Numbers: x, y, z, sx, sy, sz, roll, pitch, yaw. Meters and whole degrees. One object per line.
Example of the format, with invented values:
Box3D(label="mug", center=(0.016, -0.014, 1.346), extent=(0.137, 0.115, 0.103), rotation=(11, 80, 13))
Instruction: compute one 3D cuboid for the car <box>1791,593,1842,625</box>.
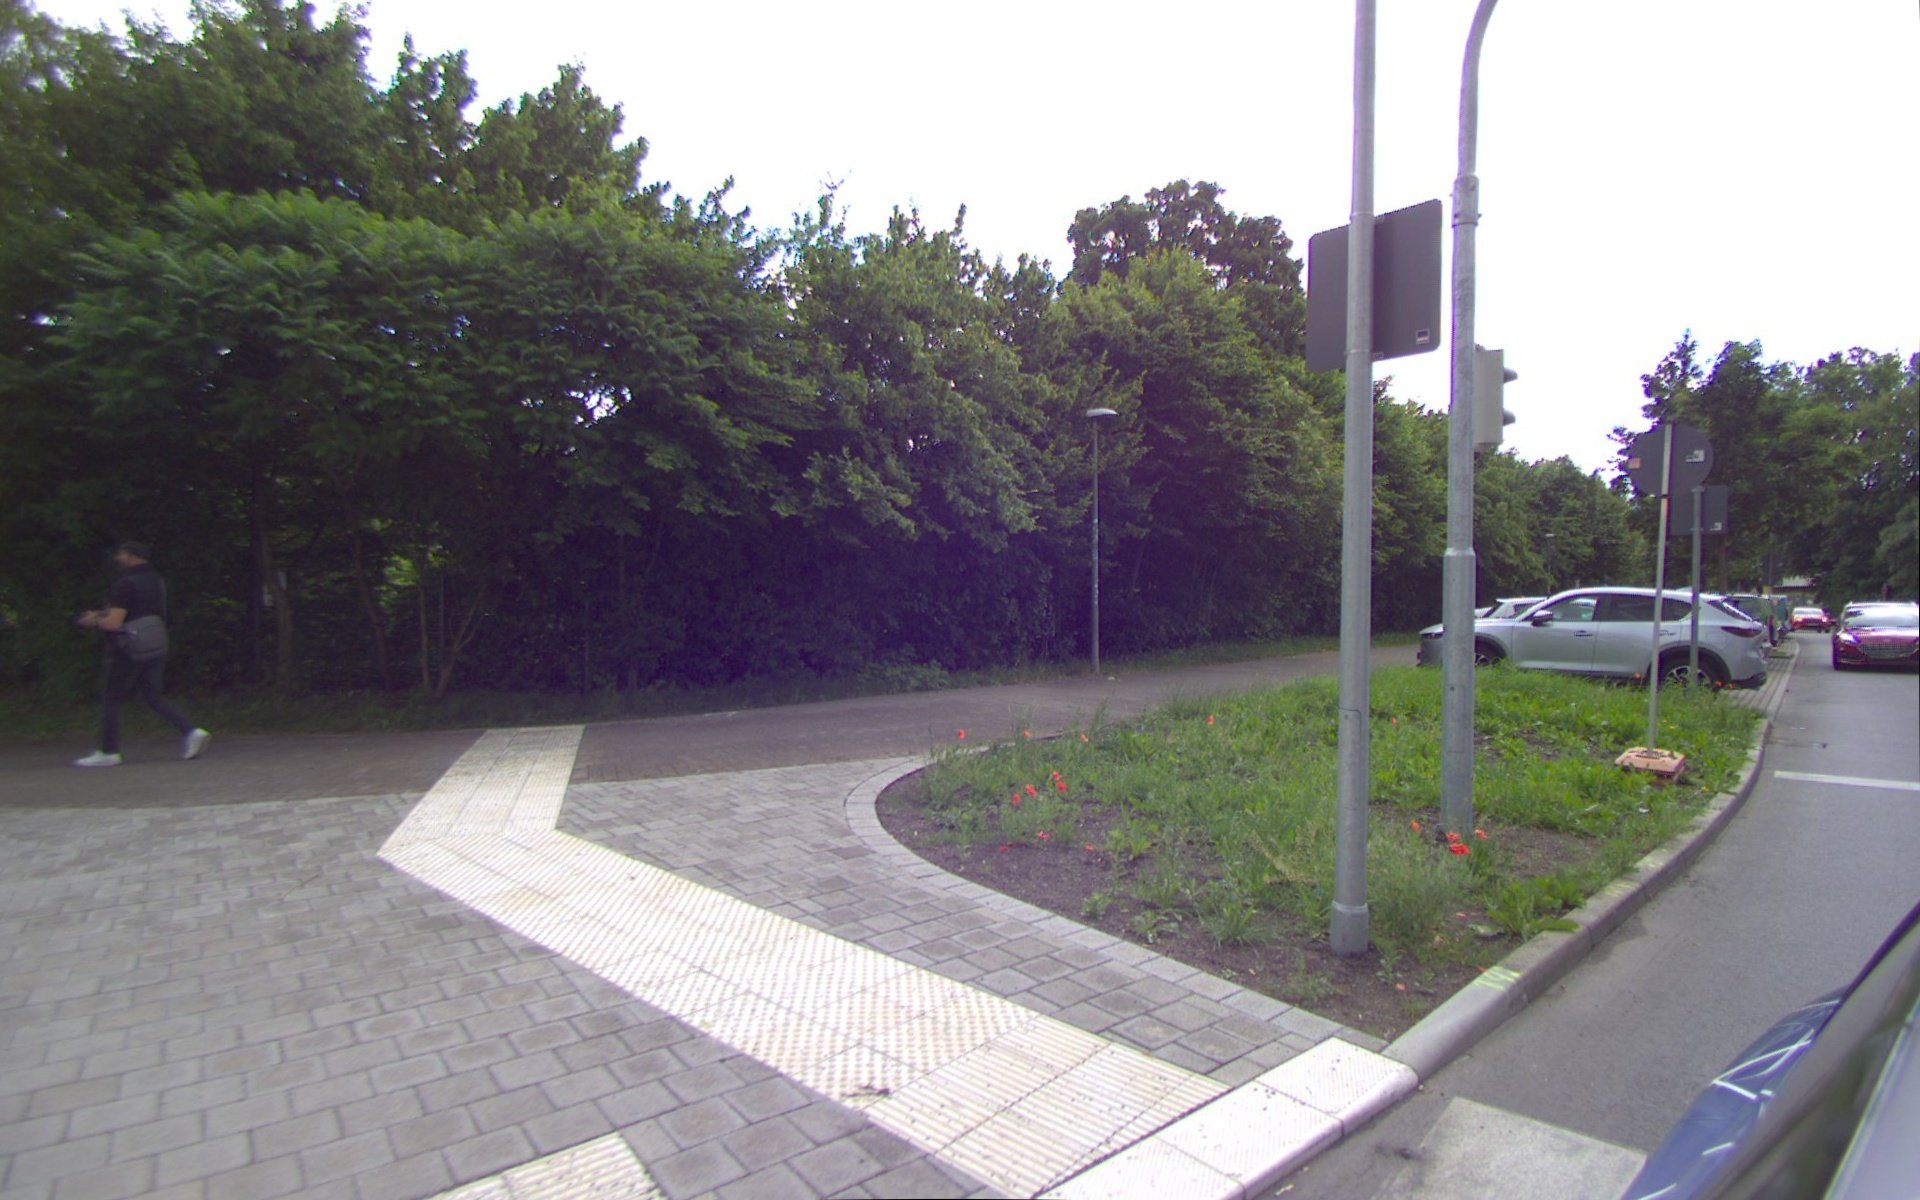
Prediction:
Box3D(label="car", center=(47.879, 0.488, 56.640), extent=(1.808, 1.638, 3.948), rotation=(3, 2, 36))

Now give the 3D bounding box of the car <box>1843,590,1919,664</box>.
Box3D(label="car", center=(22.756, 0.603, 24.552), extent=(1.926, 1.652, 4.180), rotation=(-1, 0, 41))

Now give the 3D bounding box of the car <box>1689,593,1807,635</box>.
Box3D(label="car", center=(34.252, 0.564, 44.054), extent=(3.963, 1.622, 2.077), rotation=(1, 3, 40))

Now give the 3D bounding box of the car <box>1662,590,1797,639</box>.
Box3D(label="car", center=(29.155, 0.564, 38.414), extent=(3.962, 1.754, 1.857), rotation=(-1, -1, 40))

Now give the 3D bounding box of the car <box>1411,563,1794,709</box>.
Box3D(label="car", center=(9.643, 0.425, 15.476), extent=(4.639, 1.774, 2.042), rotation=(4, 2, 38))

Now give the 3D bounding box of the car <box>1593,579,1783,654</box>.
Box3D(label="car", center=(20.731, 0.409, 28.911), extent=(4.275, 1.916, 1.811), rotation=(2, 1, 40))

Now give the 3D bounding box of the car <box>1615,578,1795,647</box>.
Box3D(label="car", center=(24.183, 0.337, 32.959), extent=(4.545, 1.922, 1.857), rotation=(4, 2, 40))

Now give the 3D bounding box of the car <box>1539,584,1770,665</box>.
Box3D(label="car", center=(15.847, 0.488, 23.228), extent=(4.148, 1.611, 1.650), rotation=(3, 1, 44))

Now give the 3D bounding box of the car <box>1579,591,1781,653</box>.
Box3D(label="car", center=(19.214, 0.535, 27.104), extent=(4.275, 1.427, 1.811), rotation=(2, 1, 40))

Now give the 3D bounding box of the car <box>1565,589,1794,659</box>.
Box3D(label="car", center=(17.580, 0.519, 24.842), extent=(4.393, 1.453, 1.915), rotation=(2, 1, 41))

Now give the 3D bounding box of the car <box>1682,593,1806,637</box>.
Box3D(label="car", center=(32.590, 0.624, 42.158), extent=(3.962, 1.754, 1.857), rotation=(-1, -1, 40))

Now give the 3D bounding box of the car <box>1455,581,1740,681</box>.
Box3D(label="car", center=(12.318, 0.502, 19.704), extent=(4.472, 1.581, 1.884), rotation=(3, 2, 40))

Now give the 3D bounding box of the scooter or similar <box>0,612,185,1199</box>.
Box3D(label="scooter or similar", center=(-2.854, 0.700, 2.550), extent=(1.501, 1.329, 0.571), rotation=(0, 0, 10))

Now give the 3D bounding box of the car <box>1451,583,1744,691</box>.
Box3D(label="car", center=(11.056, 0.550, 17.694), extent=(4.149, 1.606, 1.770), rotation=(2, 1, 40))

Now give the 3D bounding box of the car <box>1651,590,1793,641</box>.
Box3D(label="car", center=(27.382, 0.572, 36.444), extent=(3.962, 1.754, 1.857), rotation=(-1, -1, 40))

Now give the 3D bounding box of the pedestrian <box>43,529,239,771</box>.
Box3D(label="pedestrian", center=(-6.659, 0.370, 8.259), extent=(0.971, 1.845, 0.853), rotation=(0, 0, 16))

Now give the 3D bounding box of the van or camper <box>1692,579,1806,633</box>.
Box3D(label="van or camper", center=(35.680, 0.312, 45.824), extent=(3.962, 2.349, 1.857), rotation=(-2, -1, 40))
